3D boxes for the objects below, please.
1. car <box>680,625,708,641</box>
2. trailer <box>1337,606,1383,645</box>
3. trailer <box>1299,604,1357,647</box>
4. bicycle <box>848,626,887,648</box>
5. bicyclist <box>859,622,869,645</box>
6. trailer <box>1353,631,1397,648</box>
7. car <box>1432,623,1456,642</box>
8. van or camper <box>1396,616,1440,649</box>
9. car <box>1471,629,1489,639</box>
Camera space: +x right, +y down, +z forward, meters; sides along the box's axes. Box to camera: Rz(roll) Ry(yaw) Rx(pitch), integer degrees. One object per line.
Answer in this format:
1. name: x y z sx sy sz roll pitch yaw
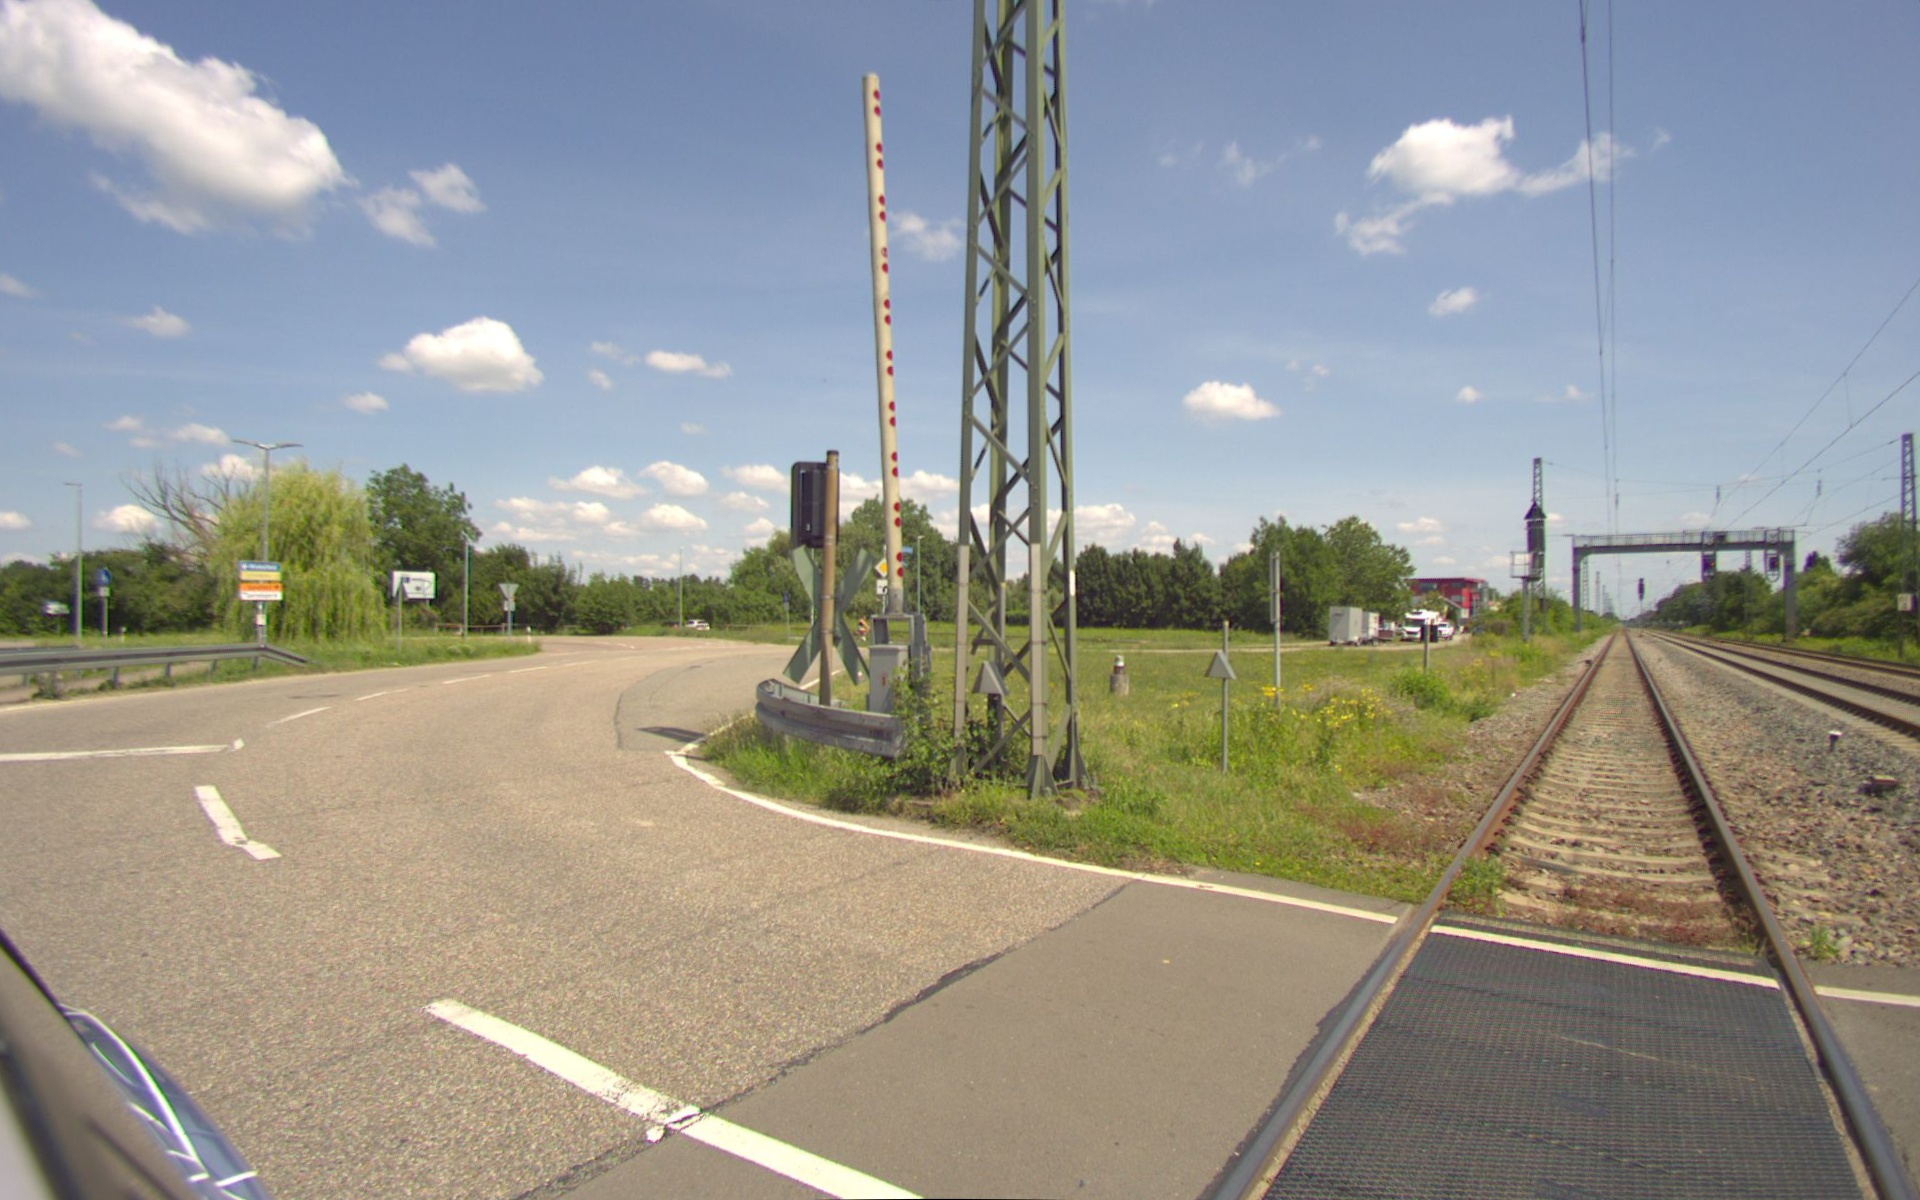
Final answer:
1. car: -27.732 3.429 105.447 1.397 1.516 3.120 0 -3 -44
2. trailer: 27.927 1.773 70.552 1.920 2.527 4.685 2 0 34
3. trailer: 24.295 1.710 66.640 1.938 2.664 5.114 2 0 40
4. bicycle: -5.115 2.029 55.904 2.115 1.173 0.661 0 -2 -2
5. bicyclist: -5.300 1.849 55.836 0.504 1.265 0.469 0 -2 -2
6. trailer: 31.308 2.939 76.228 2.008 1.131 4.433 2 1 37
7. car: 49.150 3.260 102.732 1.581 1.877 3.739 -1 -2 36
8. van or camper: 41.423 2.906 91.344 2.440 2.848 7.535 1 -1 34
9. car: 66.549 4.320 129.379 1.581 1.238 3.740 -1 -2 35
